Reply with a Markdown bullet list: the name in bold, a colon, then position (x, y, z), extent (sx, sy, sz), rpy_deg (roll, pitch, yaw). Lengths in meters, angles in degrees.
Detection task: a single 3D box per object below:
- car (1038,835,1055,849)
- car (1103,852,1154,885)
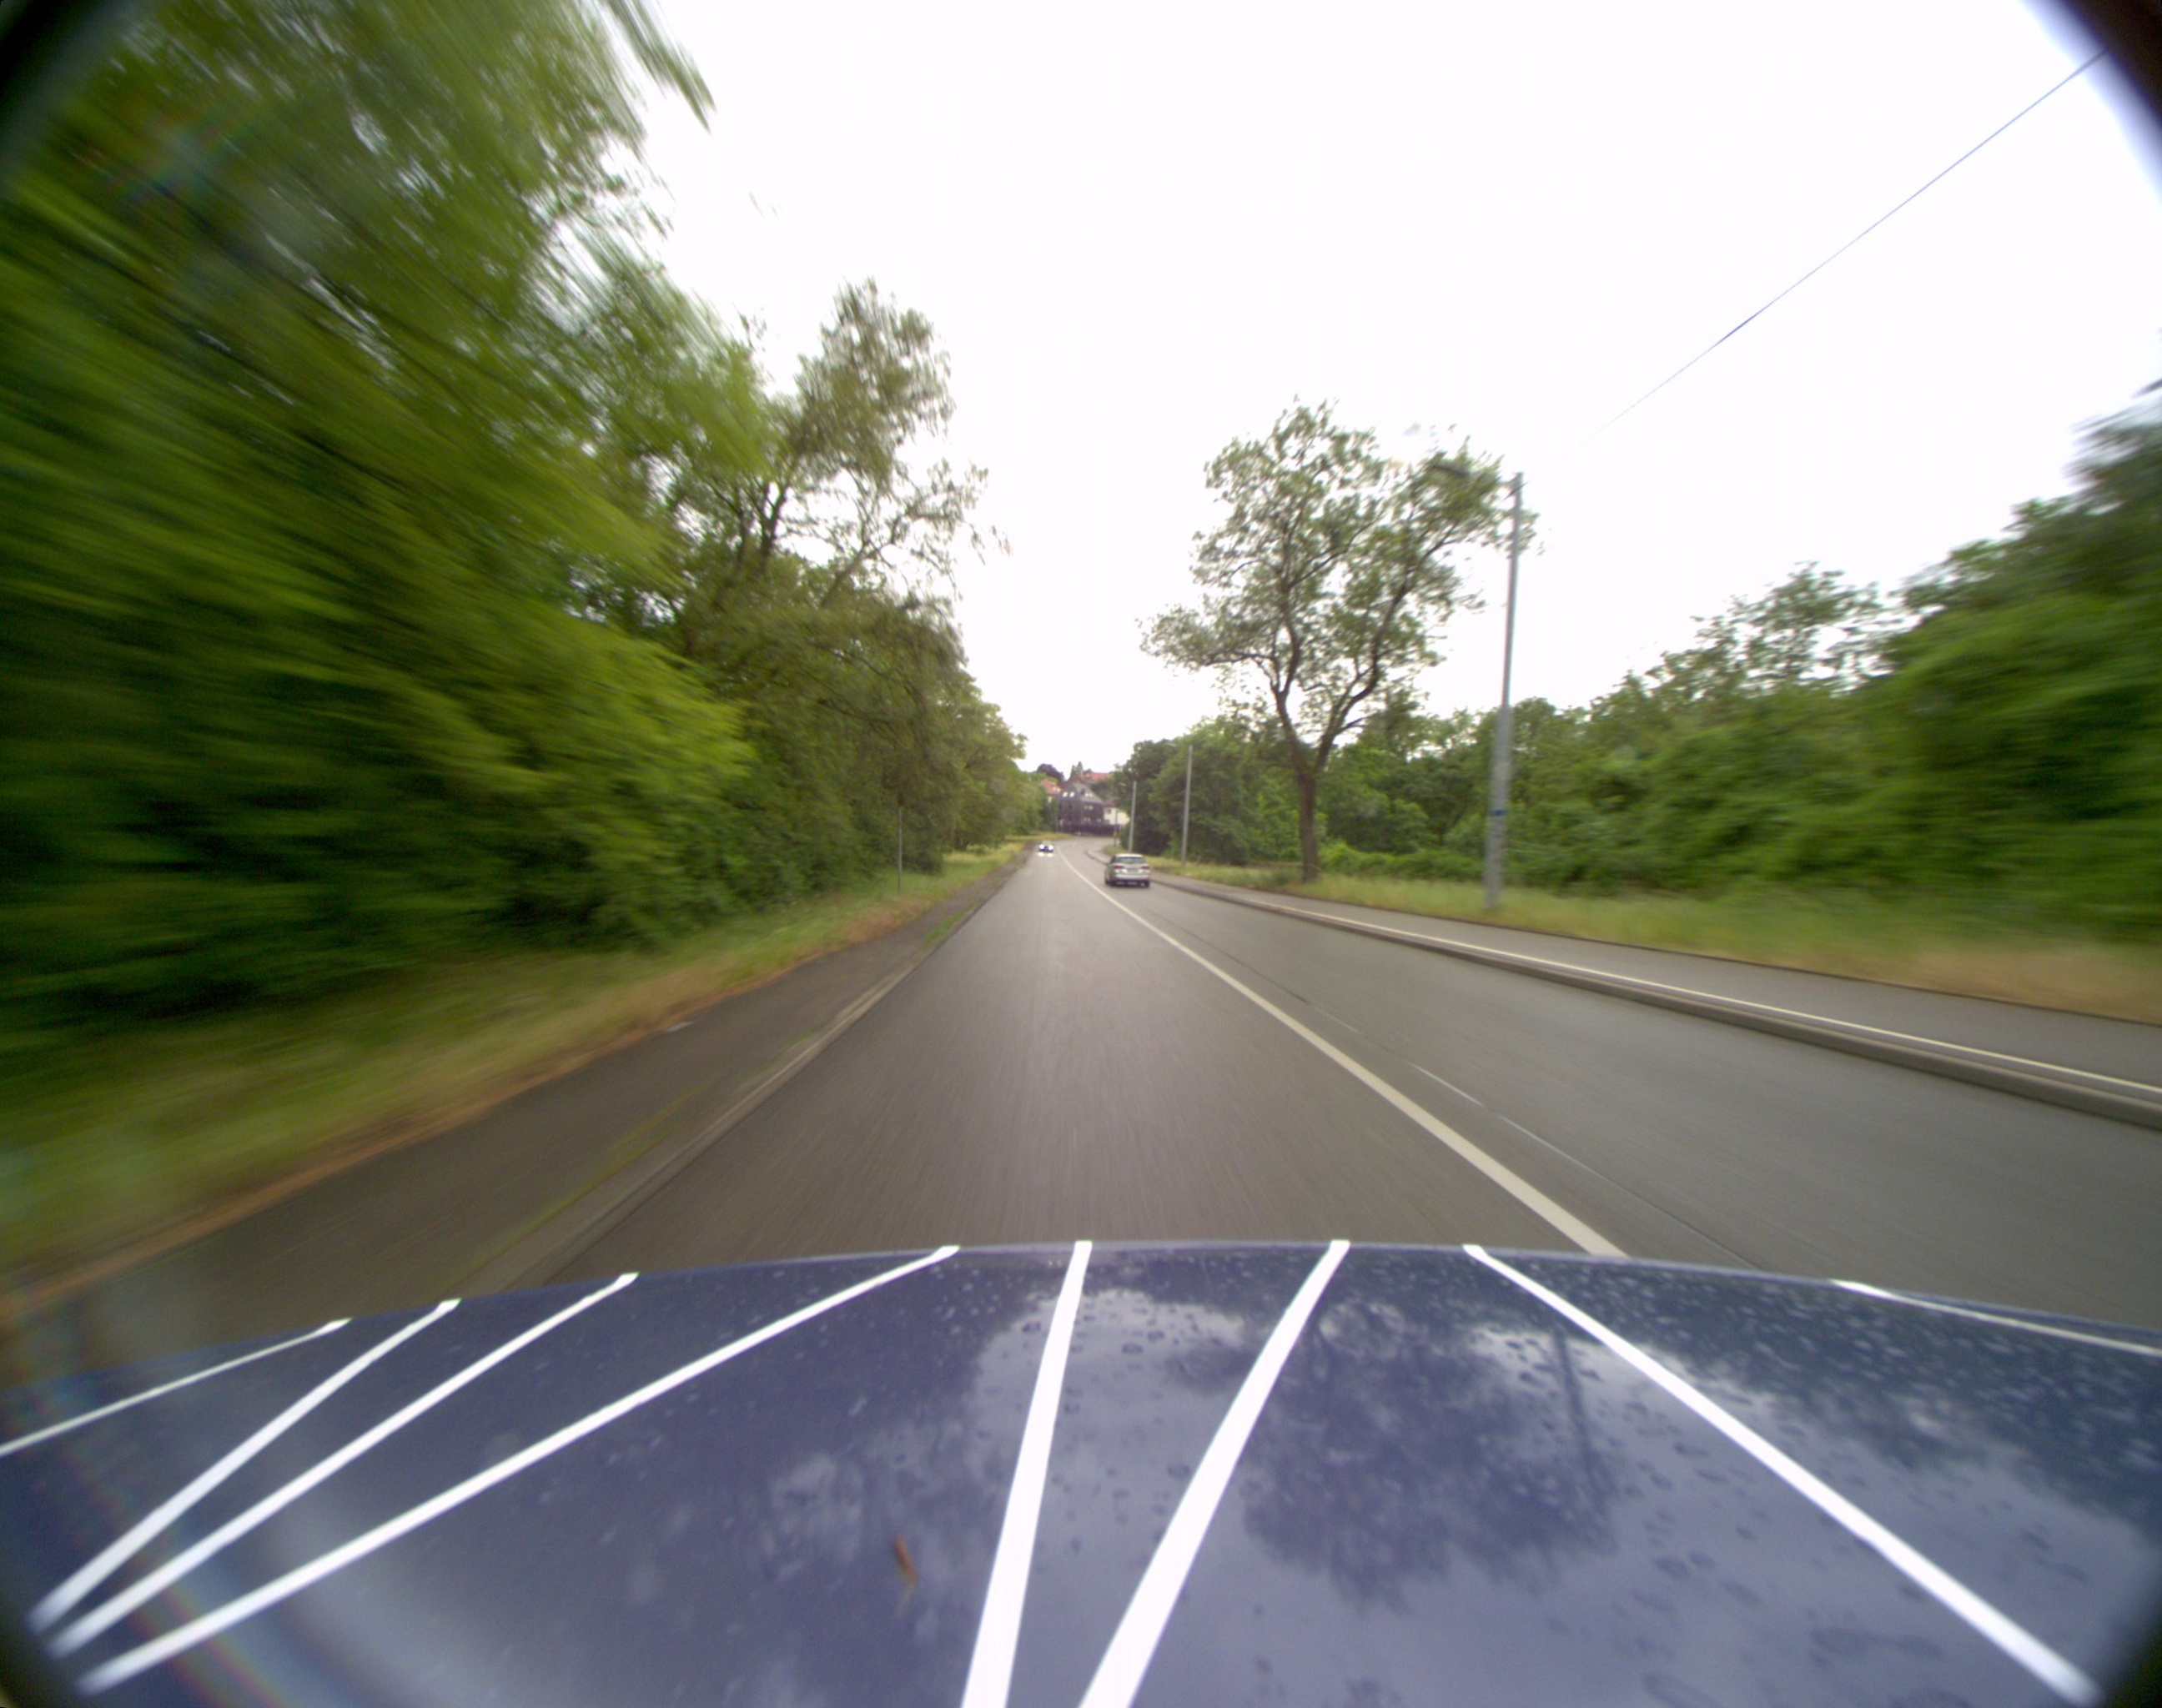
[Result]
- **car**: position (-4.534, -1.600, 100.028), extent (1.998, 1.708, 3.998), rpy_deg (0, 3, 1)
- **car**: position (2.130, 0.636, 35.014), extent (1.785, 1.422, 4.473), rpy_deg (0, 0, -4)
